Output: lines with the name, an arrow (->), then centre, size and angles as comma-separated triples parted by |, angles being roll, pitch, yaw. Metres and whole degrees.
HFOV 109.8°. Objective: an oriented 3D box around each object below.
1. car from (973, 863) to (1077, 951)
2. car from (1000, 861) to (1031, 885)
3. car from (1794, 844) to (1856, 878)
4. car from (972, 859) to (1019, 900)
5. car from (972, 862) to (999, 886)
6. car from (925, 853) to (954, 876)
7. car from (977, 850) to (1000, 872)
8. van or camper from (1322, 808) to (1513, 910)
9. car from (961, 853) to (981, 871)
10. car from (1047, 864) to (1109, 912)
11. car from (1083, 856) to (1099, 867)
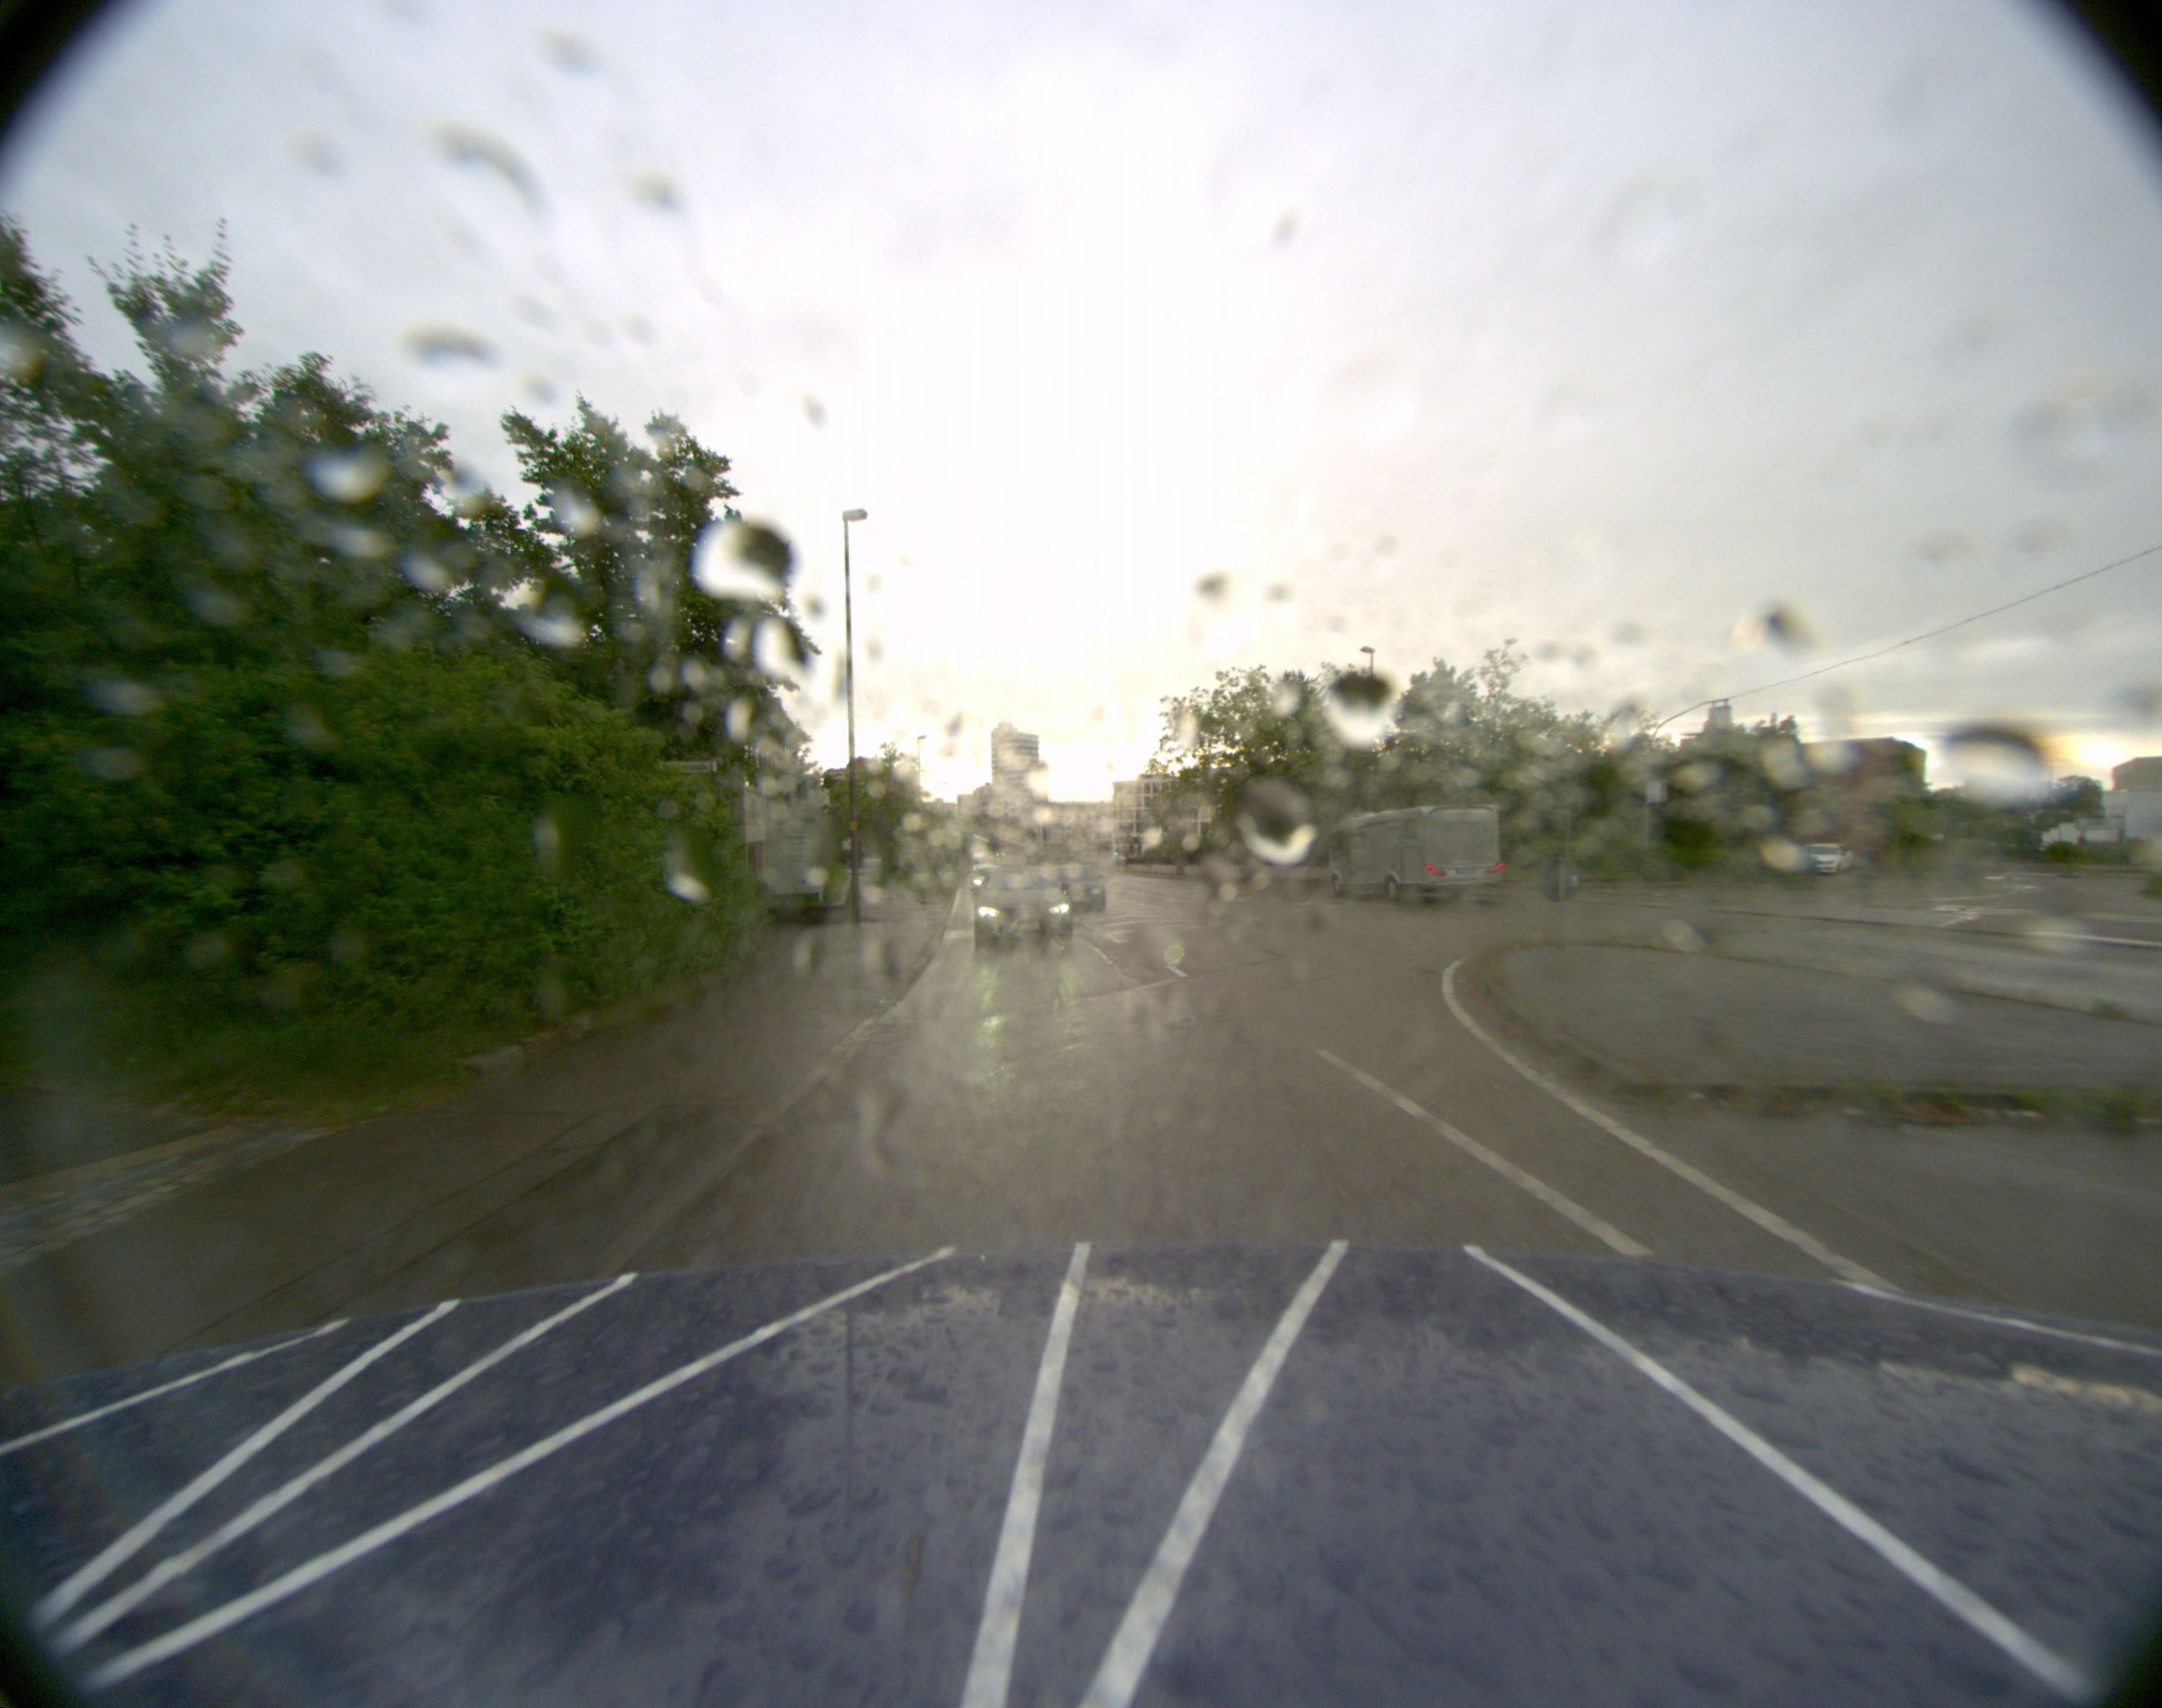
car -> -1.276, 1.001, 16.312 | 1.839, 1.505, 4.845 | -2, 0, -6
car -> -4.317, 1.228, 49.914 | 1.901, 1.487, 4.943 | -1, -1, -5
car -> 38.451, 0.321, 39.215 | 4.301, 1.598, 1.697 | -2, 1, -38
car -> -4.329, 1.198, 37.765 | 1.902, 1.649, 4.939 | -5, 2, -10
car -> -7.231, 1.496, 57.707 | 1.901, 1.713, 4.462 | -1, -1, -6
car -> -11.873, 0.887, 63.943 | 2.049, 1.809, 3.965 | -2, 0, -6
car -> -8.644, 0.692, 70.711 | 2.031, 1.924, 4.941 | -1, -1, -8
van or camper -> 10.014, 0.105, 23.574 | 2.374, 2.641, 7.016 | -1, 0, -4
car -> -12.244, 0.935, 84.534 | 2.031, 1.924, 4.941 | -1, -1, -8
car -> -0.168, 1.039, 24.849 | 1.790, 1.339, 4.944 | -1, 0, -2
car -> 1.330, 1.021, 105.609 | 1.819, 1.506, 3.998 | -1, 0, -5
